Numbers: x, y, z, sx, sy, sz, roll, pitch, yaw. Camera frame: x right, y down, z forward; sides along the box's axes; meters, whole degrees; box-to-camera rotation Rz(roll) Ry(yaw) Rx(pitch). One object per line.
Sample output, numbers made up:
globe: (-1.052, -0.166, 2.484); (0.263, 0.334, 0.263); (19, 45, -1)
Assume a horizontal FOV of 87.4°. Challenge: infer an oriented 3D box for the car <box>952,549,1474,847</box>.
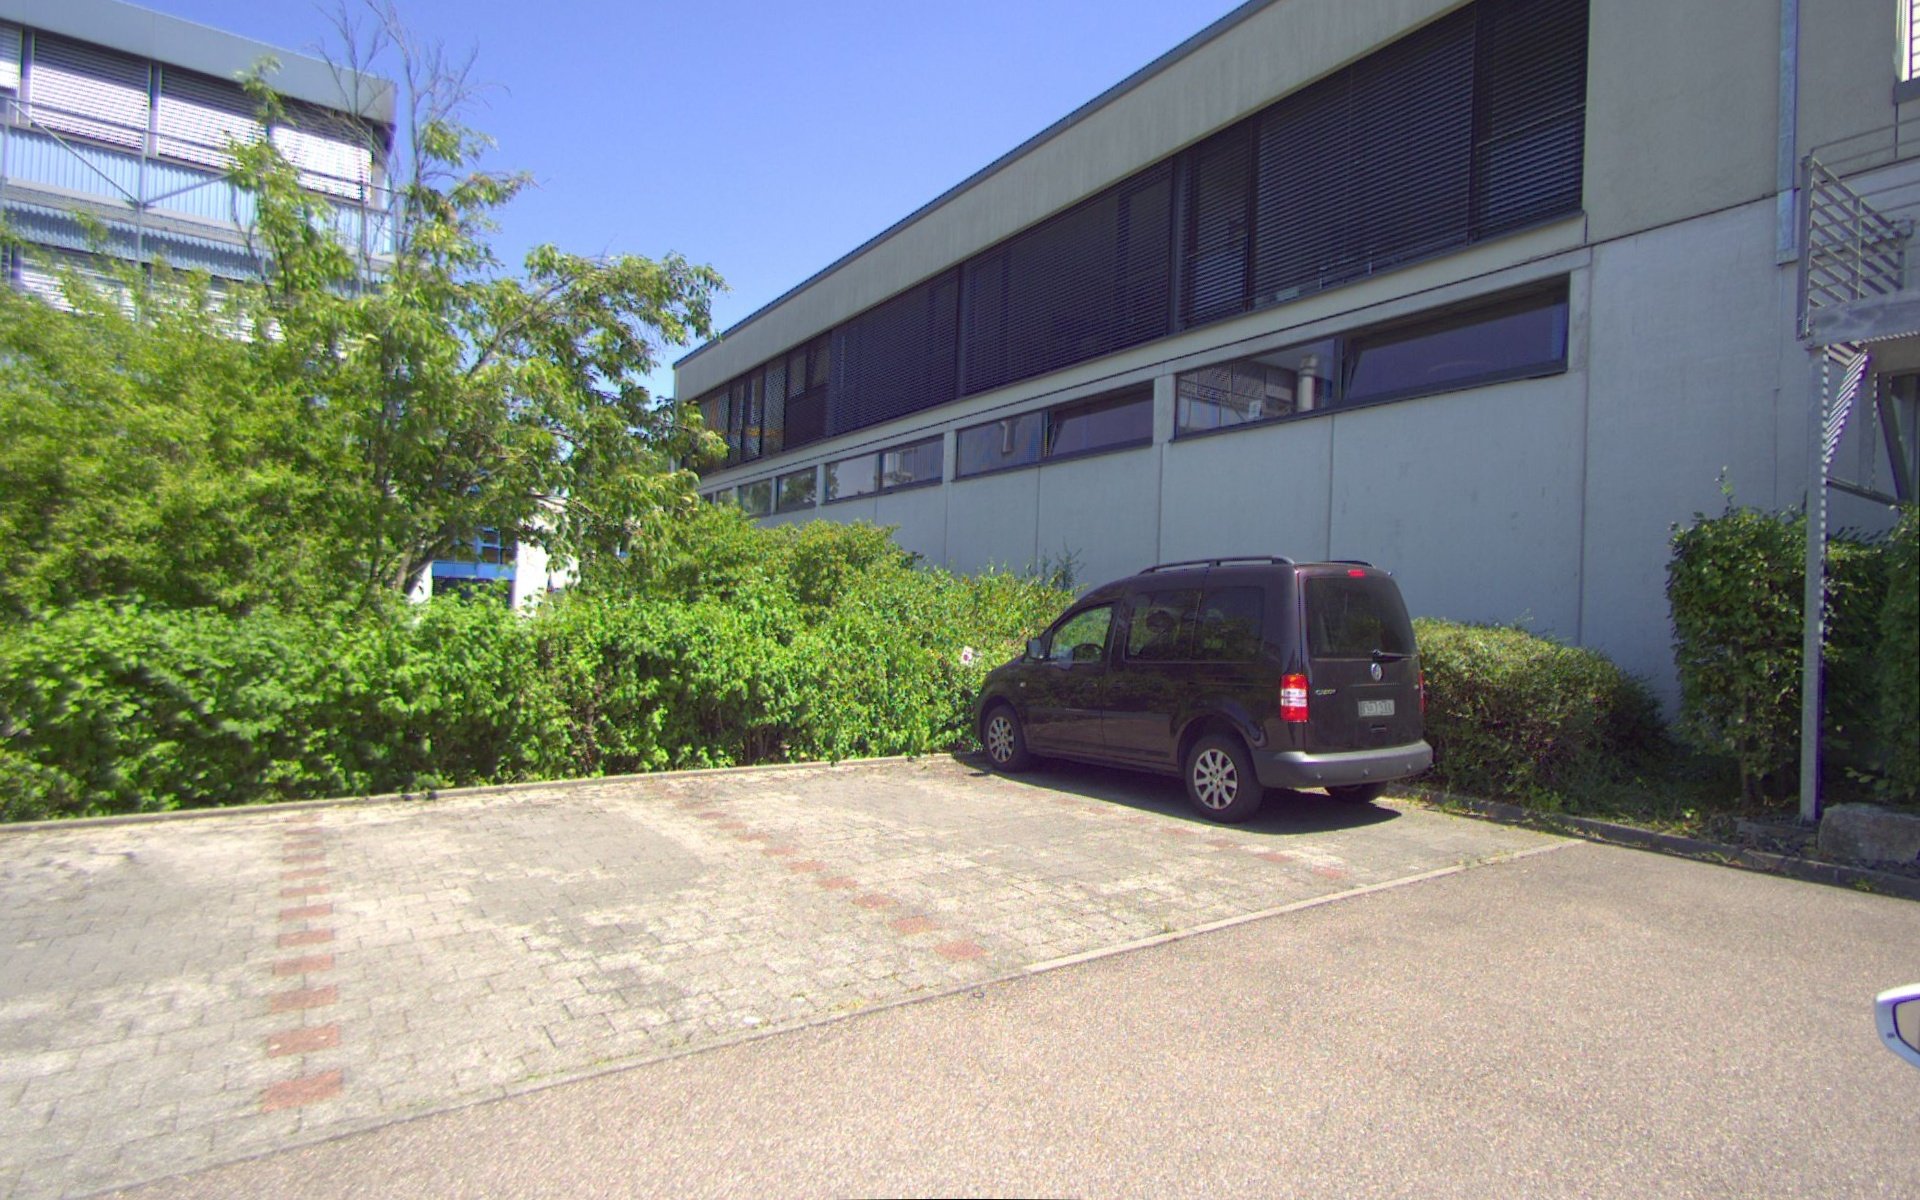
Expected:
car: (1.859, 0.643, 8.623); (1.849, 1.885, 4.188); (1, -1, -34)
